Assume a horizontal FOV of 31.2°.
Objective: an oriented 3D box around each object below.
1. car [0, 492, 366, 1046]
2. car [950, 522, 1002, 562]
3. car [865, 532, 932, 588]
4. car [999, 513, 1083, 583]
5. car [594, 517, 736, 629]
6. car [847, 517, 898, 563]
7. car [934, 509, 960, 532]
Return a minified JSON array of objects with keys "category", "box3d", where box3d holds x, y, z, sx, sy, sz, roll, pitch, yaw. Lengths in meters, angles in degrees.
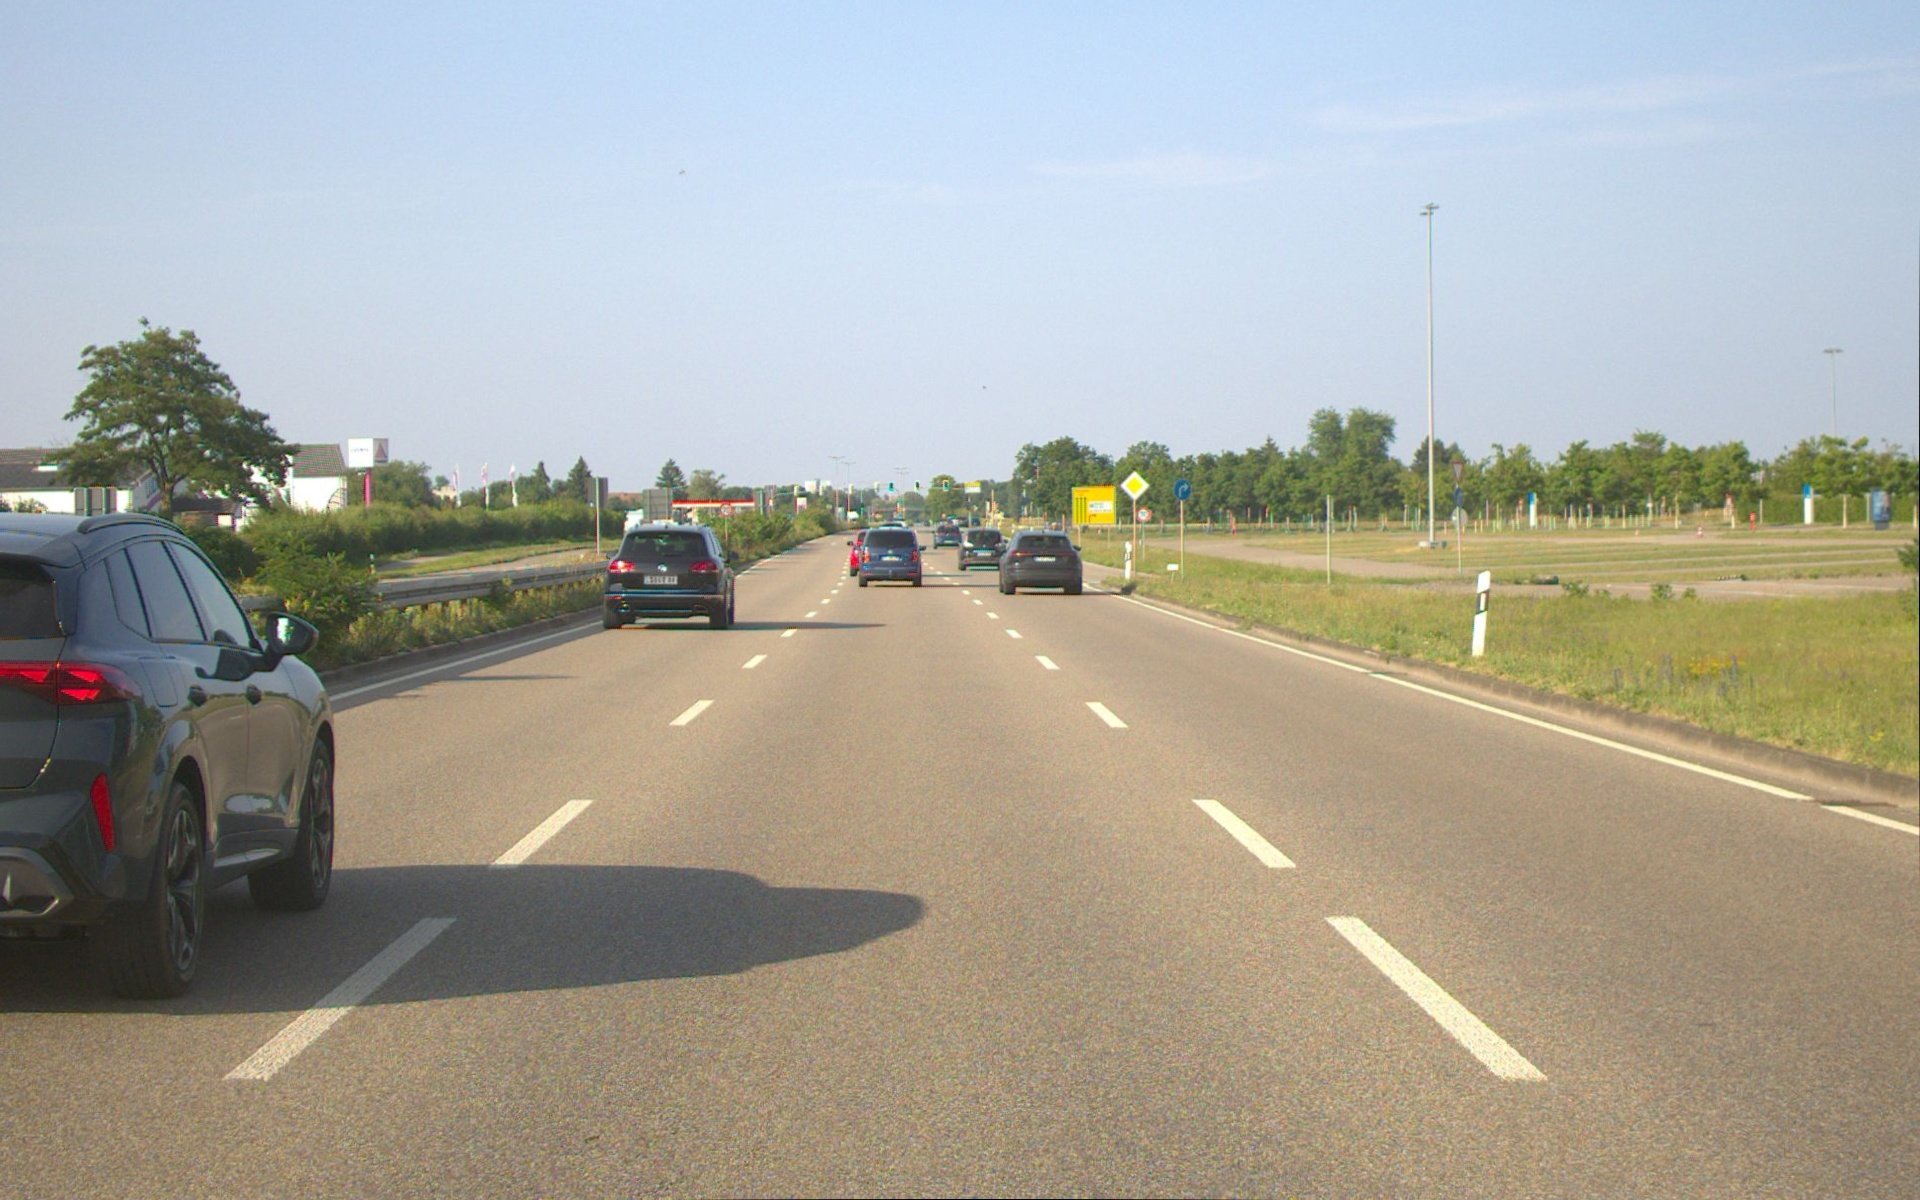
[{"category":"car","box3d":[-3.424,0.426,12.318,1.845,1.606,4.401,2,2,-1]},{"category":"car","box3d":[0.605,-2.237,132.024,1.873,1.458,3.981,2,2,-1]},{"category":"car","box3d":[-1.733,-1.160,97.343,1.812,1.458,4.401,2,2,-1]},{"category":"car","box3d":[2.028,-1.346,87.251,1.932,1.674,4.401,2,2,-1]},{"category":"car","box3d":[-4.748,-0.467,55.886,1.932,1.674,4.401,2,2,-1]},{"category":"car","box3d":[-2.978,-2.056,117.238,1.647,1.458,3.981,2,2,-1]},{"category":"car","box3d":[-0.772,-4.741,205.745,1.503,1.309,3.156,2,2,-1]}]
